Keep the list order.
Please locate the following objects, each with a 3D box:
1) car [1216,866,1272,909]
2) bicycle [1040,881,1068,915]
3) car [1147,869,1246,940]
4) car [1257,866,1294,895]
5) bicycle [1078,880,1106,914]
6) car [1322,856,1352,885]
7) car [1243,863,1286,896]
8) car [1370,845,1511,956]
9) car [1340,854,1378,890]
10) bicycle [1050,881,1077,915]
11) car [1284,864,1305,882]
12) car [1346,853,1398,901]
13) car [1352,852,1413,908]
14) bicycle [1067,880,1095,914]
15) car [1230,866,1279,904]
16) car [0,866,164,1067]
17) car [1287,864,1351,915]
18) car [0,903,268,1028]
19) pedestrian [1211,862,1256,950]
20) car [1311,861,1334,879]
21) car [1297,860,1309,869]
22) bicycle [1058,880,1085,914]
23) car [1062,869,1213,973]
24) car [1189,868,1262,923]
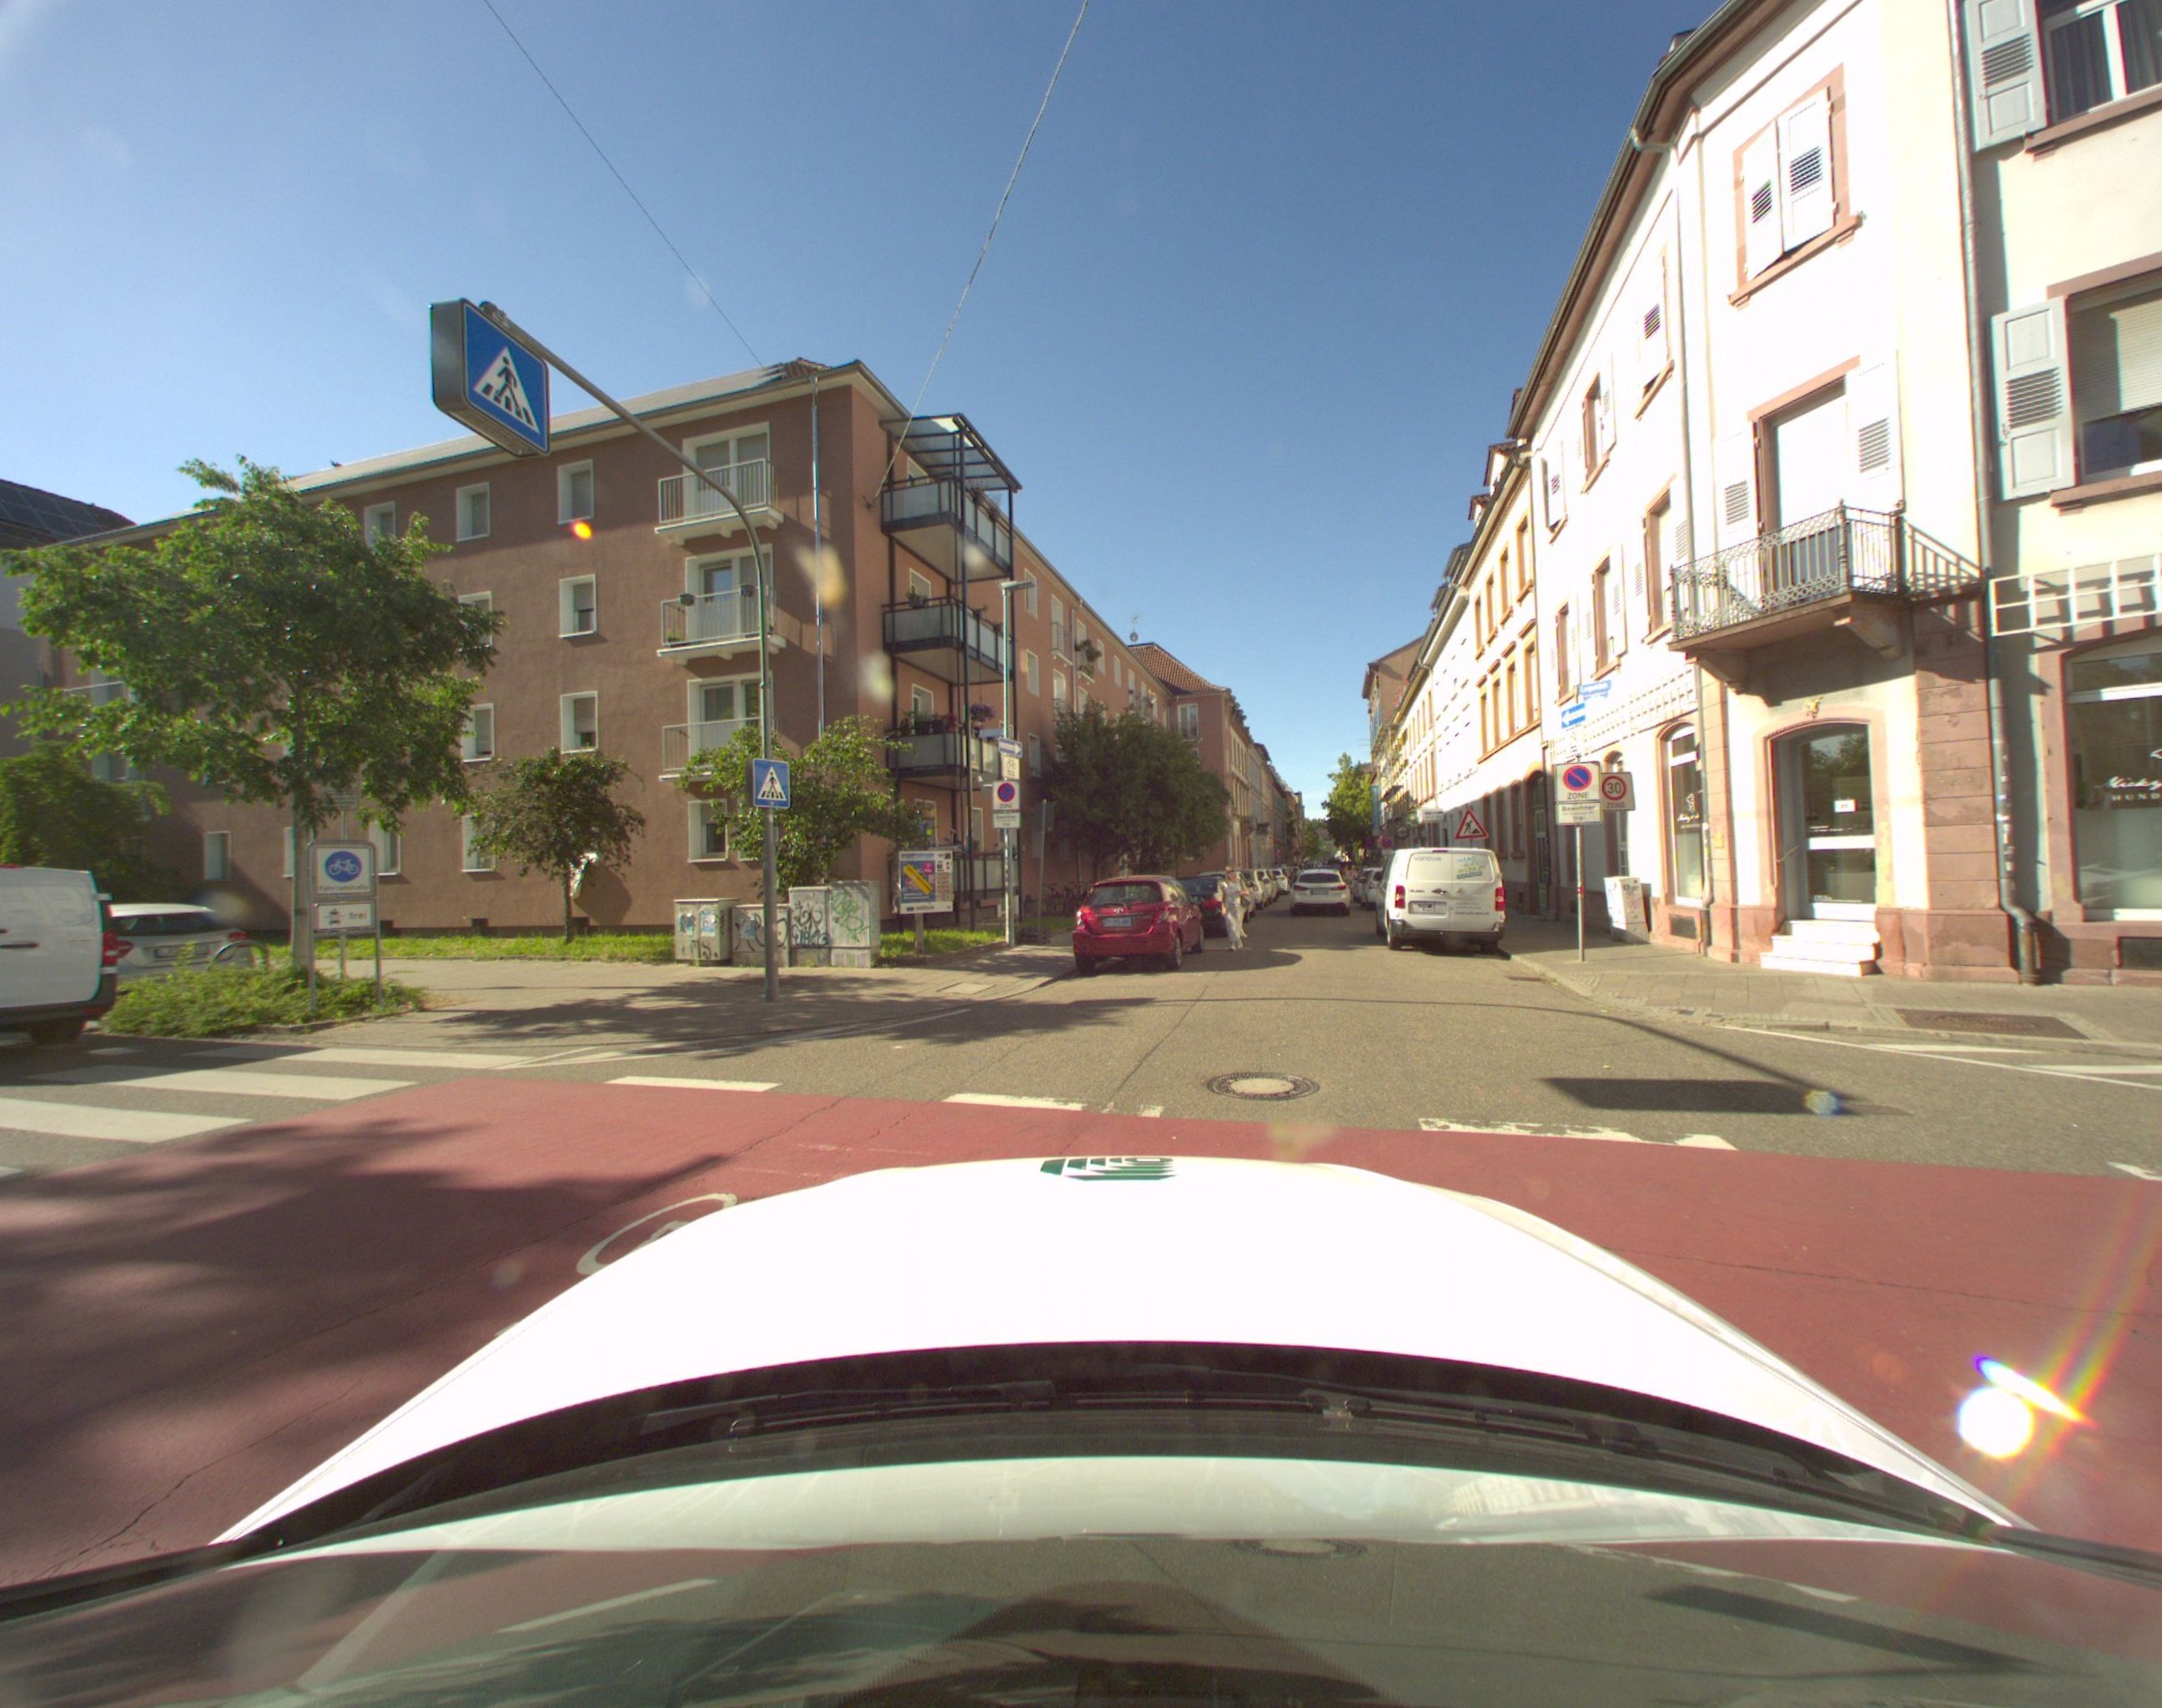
[{"bbox_3d":[6.339,1.249,31.377,1.640,1.500,3.780,-2,-1,18],"label":"car"},{"bbox_3d":[-0.879,1.392,25.979,0.292,1.035,1.204,-1,-1,-33],"label":"bicycle"},{"bbox_3d":[2.907,1.151,19.850,1.640,1.500,4.098,-2,-1,18],"label":"car"},{"bbox_3d":[10.840,1.440,45.263,1.640,1.500,3.780,-2,-1,18],"label":"car"},{"bbox_3d":[0.342,1.402,26.603,0.254,1.071,1.207,-1,-1,-33],"label":"bicycle"},{"bbox_3d":[17.689,1.129,56.238,1.879,1.859,4.013,-2,-1,18],"label":"car"},{"bbox_3d":[9.119,1.250,40.331,1.640,1.500,3.780,-2,-1,18],"label":"car"},{"bbox_3d":[6.954,0.798,16.289,1.880,1.859,5.034,0,0,16],"label":"car"},{"bbox_3d":[15.798,1.008,46.311,1.879,1.859,4.013,-4,-2,18],"label":"car"},{"bbox_3d":[-0.569,1.399,26.175,0.267,1.072,1.204,-1,-1,-33],"label":"bicycle"},{"bbox_3d":[19.698,1.729,75.014,1.640,1.500,3.780,-2,-1,18],"label":"car"},{"bbox_3d":[12.310,0.946,34.612,1.879,1.859,4.013,-2,-1,18],"label":"car"},{"bbox_3d":[10.833,0.912,29.491,1.879,1.859,4.013,-2,-1,18],"label":"car"},{"bbox_3d":[-0.001,1.383,26.549,0.254,1.071,1.204,-1,-1,-33],"label":"bicycle"},{"bbox_3d":[7.559,1.306,35.253,1.640,1.500,3.780,-2,-1,18],"label":"car"},{"bbox_3d":[-12.864,1.169,8.600,5.365,1.908,2.117,-2,-1,16],"label":"car"},{"bbox_3d":[7.799,1.102,26.498,1.816,1.457,3.980,-2,-1,18],"label":"car"},{"bbox_3d":[-14.004,1.516,11.535,4.109,1.454,1.753,-2,-1,17],"label":"car"},{"bbox_3d":[2.912,0.975,15.627,0.729,1.614,0.817,-2,-2,6],"label":"pedestrian"},{"bbox_3d":[20.807,1.336,70.031,1.746,1.410,4.348,-2,-1,18],"label":"car"},{"bbox_3d":[37.645,1.811,137.938,1.640,1.500,3.780,-2,-1,18],"label":"car"},{"bbox_3d":[-0.306,1.380,26.368,0.254,1.071,1.204,-1,-1,-33],"label":"bicycle"},{"bbox_3d":[1.142,1.081,14.313,1.671,1.500,3.824,-4,-2,18],"label":"car"},{"bbox_3d":[4.518,1.221,25.032,1.640,1.500,3.780,-2,-1,18],"label":"car"}]
